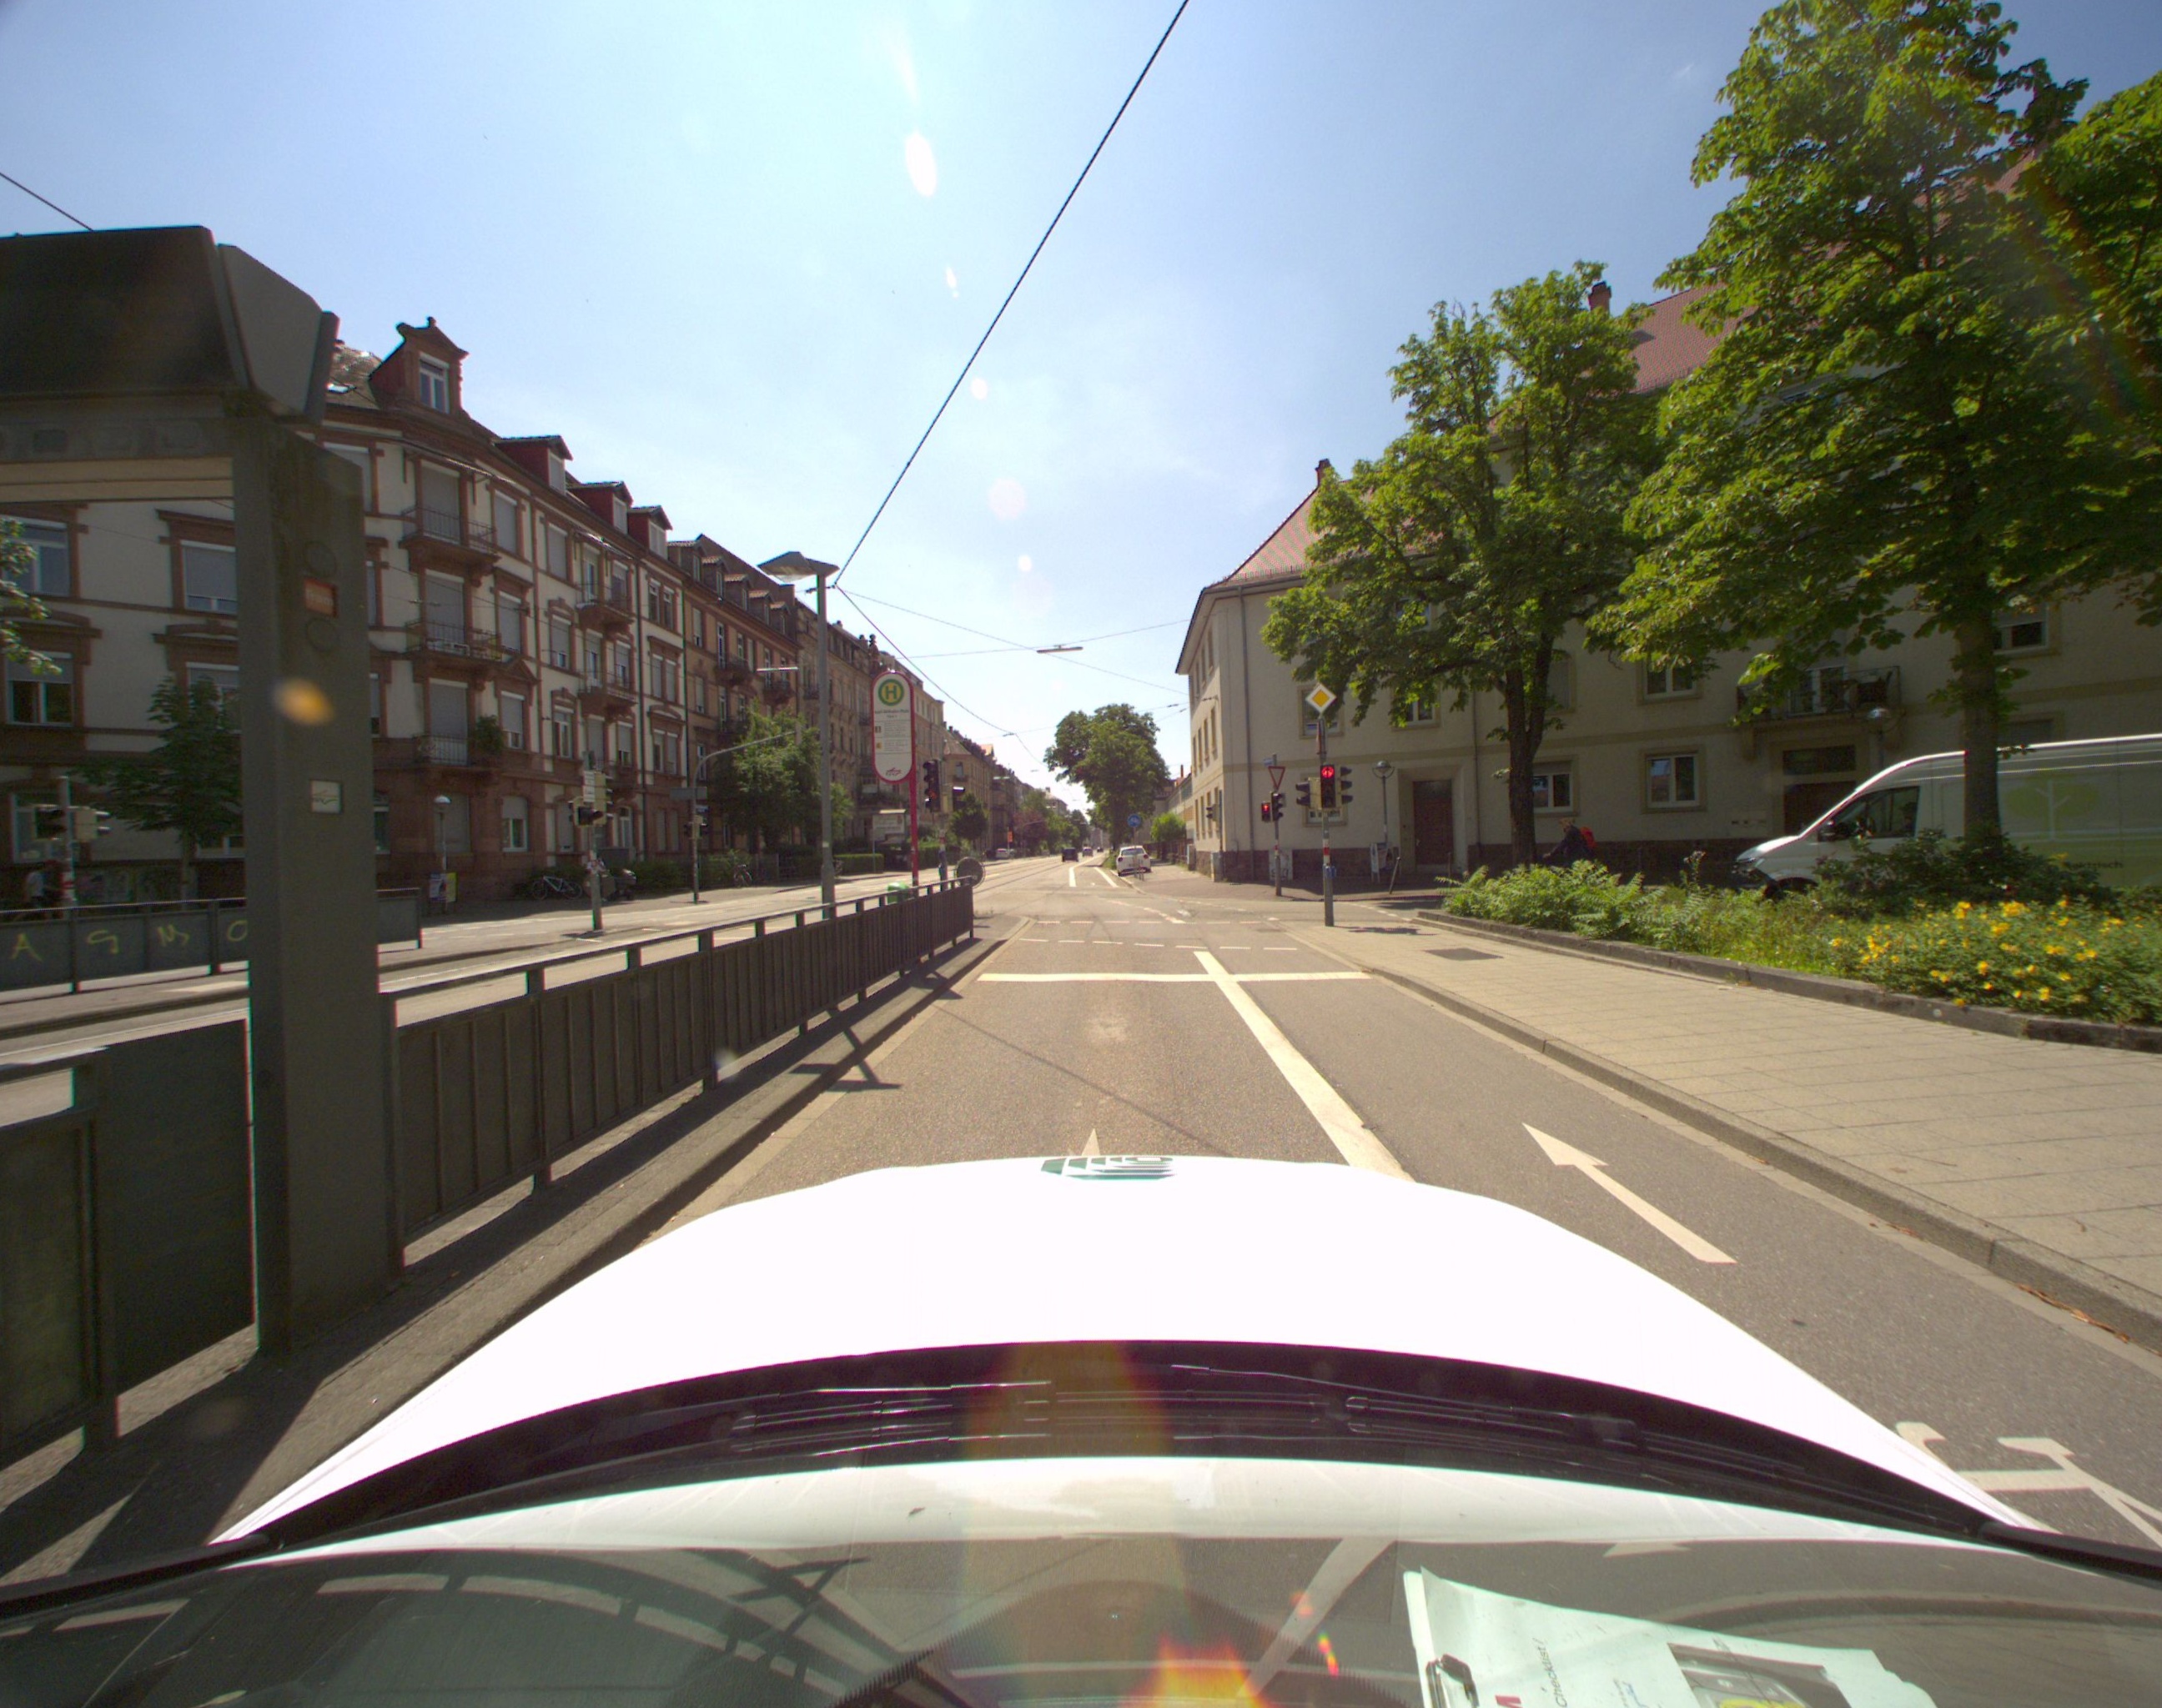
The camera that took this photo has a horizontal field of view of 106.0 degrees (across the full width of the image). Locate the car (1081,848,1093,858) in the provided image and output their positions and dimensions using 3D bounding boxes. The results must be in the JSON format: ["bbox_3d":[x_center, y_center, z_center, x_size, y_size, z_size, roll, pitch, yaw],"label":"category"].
[{"bbox_3d":[0.995,-0.164,129.956,1.741,1.472,3.940,-5,0,1],"label":"car"}]

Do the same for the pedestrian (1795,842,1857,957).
[{"bbox_3d":[8.511,0.511,9.315,0.365,1.284,0.350,-1,0,1],"label":"pedestrian"}]

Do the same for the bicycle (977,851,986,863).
[{"bbox_3d":[-11.439,0.307,93.878,0.575,1.388,2.502,-1,0,2],"label":"bicycle"}]

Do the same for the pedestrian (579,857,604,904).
[{"bbox_3d":[-17.236,0.935,28.680,0.657,1.614,0.464,-1,2,-40],"label":"pedestrian"}]

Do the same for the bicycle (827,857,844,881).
[{"bbox_3d":[-14.095,0.856,46.658,0.594,1.356,2.421,-1,0,-24],"label":"bicycle"}]

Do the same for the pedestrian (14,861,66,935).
[{"bbox_3d":[-26.594,1.107,20.814,0.565,1.825,0.631,-1,0,-20],"label":"pedestrian"}]

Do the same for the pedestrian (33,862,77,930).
[{"bbox_3d":[-27.278,1.113,21.657,0.508,1.768,0.525,-1,0,-20],"label":"pedestrian"}]

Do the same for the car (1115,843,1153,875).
[{"bbox_3d":[2.754,0.249,42.910,1.741,1.472,3.940,-5,0,1],"label":"car"}]

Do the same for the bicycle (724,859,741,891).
[{"bbox_3d":[-15.689,0.910,36.649,0.617,1.395,2.289,-1,0,-24],"label":"bicycle"}]

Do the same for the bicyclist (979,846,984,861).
[{"bbox_3d":[-11.454,-0.056,93.826,0.540,1.763,0.498,-1,0,1],"label":"bicyclist"}]

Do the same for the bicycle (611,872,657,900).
[{"bbox_3d":[-16.325,1.161,29.736,1.410,1.013,0.384,1,-2,-39],"label":"bicycle"}]

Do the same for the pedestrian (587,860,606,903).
[{"bbox_3d":[-17.622,0.991,29.593,0.510,1.516,0.464,-1,0,-40],"label":"pedestrian"}]

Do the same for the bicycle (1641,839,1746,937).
[{"bbox_3d":[7.528,0.408,10.067,0.331,1.127,1.287,-1,-1,2],"label":"bicycle"}]

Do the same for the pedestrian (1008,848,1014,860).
[{"bbox_3d":[-10.084,0.056,117.338,0.675,1.727,0.678,-1,0,1],"label":"pedestrian"}]

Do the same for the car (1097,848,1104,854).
[{"bbox_3d":[5.259,-0.916,217.886,1.623,1.472,3.563,-5,0,0],"label":"car"}]

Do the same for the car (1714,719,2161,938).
[{"bbox_3d":[12.741,-0.297,11.390,2.009,2.590,5.784,-1,0,-37],"label":"car"}]

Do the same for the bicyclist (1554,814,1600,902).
[{"bbox_3d":[9.577,0.072,15.728,0.687,1.646,0.584,-1,0,35],"label":"bicyclist"}]

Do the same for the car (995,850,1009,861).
[{"bbox_3d":[-11.744,0.206,121.483,1.679,1.472,3.937,-5,0,0],"label":"car"}]

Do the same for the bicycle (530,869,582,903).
[{"bbox_3d":[-19.229,1.165,29.841,0.360,1.169,1.528,0,1,44],"label":"bicycle"}]

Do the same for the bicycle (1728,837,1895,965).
[{"bbox_3d":[8.513,0.500,9.597,0.351,1.360,1.836,-1,0,2],"label":"bicycle"}]

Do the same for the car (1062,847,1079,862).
[{"bbox_3d":[-1.092,0.087,84.686,1.519,1.444,3.367,-3,0,2],"label":"car"}]

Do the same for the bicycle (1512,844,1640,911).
[{"bbox_3d":[9.554,0.445,15.757,2.060,1.236,0.584,-1,0,35],"label":"bicycle"}]

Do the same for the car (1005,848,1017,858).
[{"bbox_3d":[-11.188,-0.145,130.261,1.623,1.472,3.563,-5,0,0],"label":"car"}]
